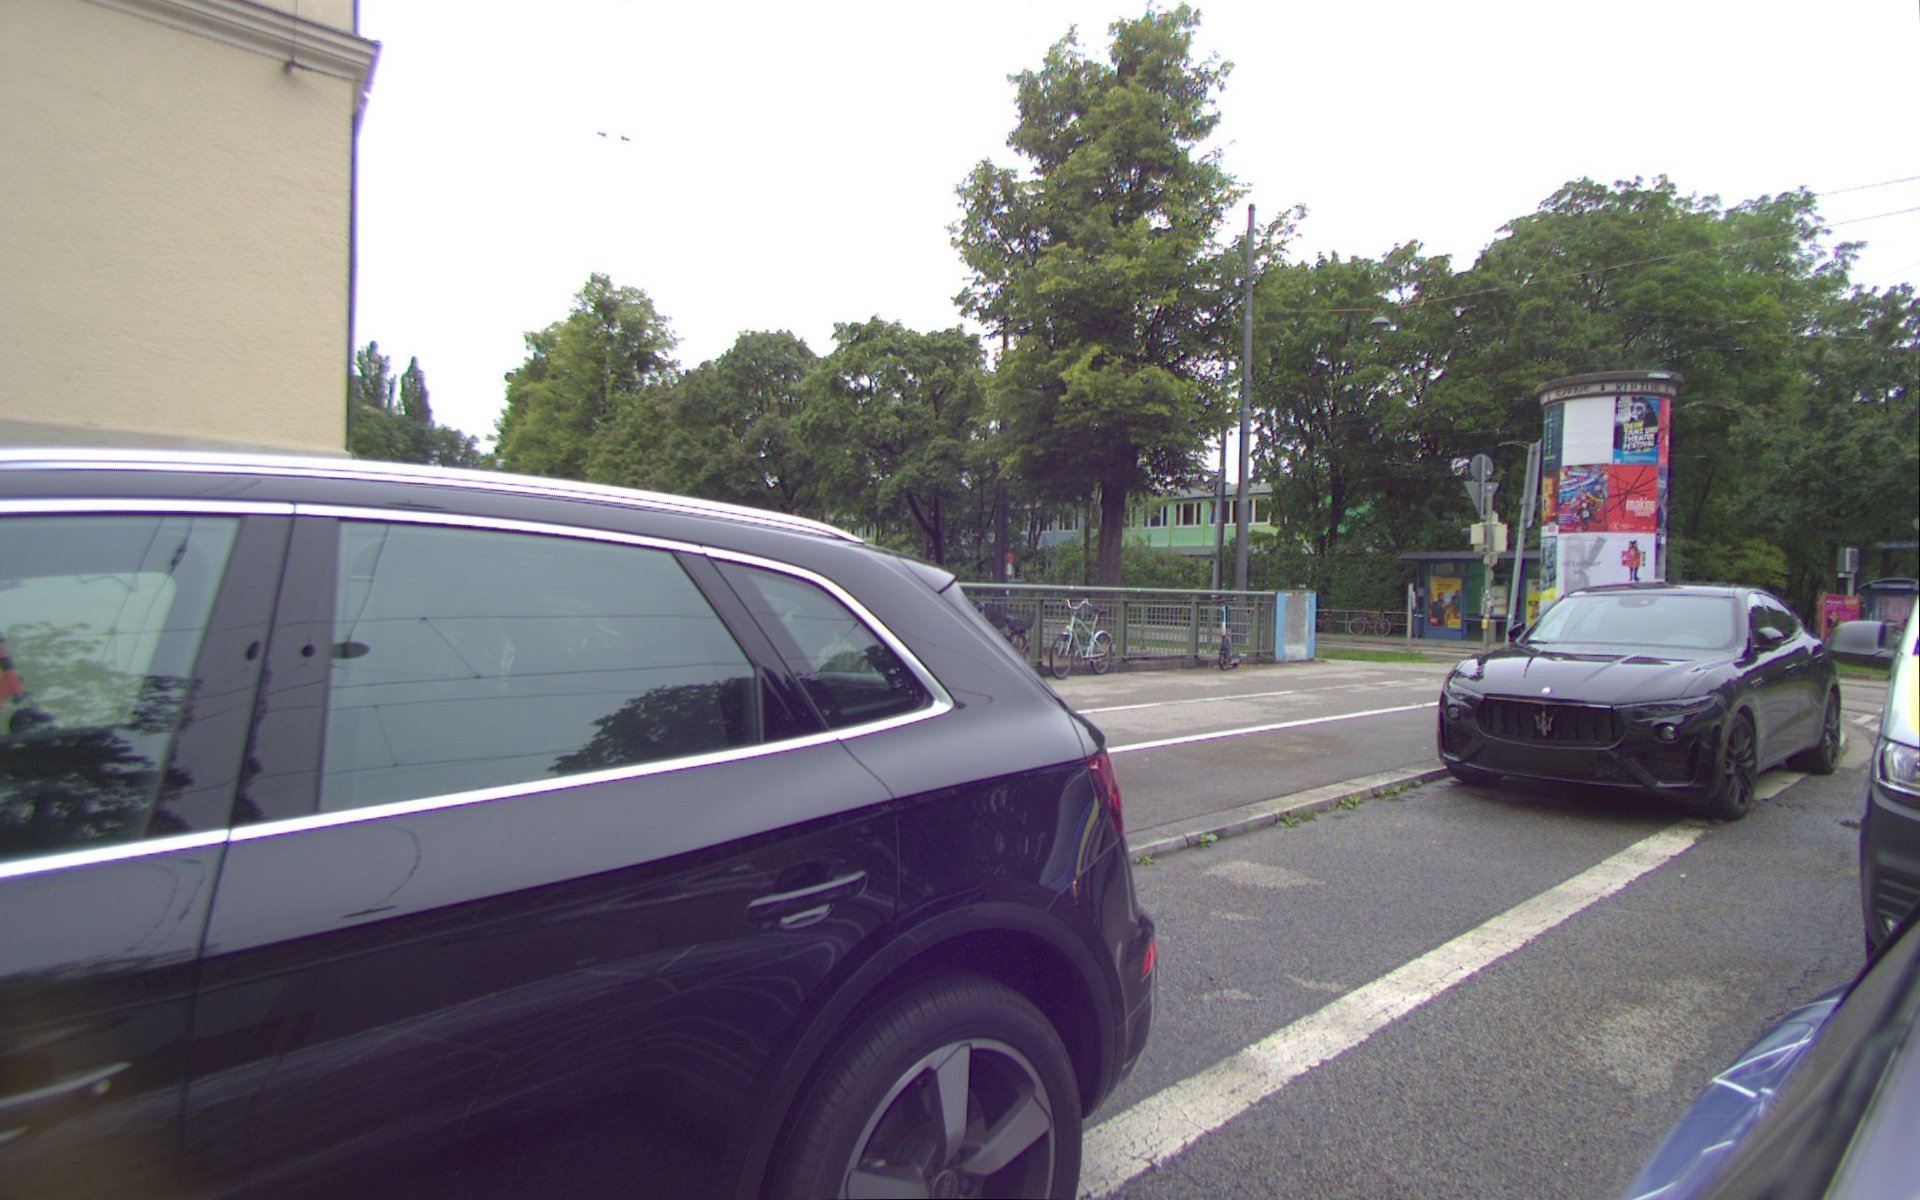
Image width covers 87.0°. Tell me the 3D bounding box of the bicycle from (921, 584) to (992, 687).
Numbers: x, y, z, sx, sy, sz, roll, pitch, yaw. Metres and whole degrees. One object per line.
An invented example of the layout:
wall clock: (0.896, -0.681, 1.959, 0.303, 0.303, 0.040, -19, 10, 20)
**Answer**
bicycle: (-0.028, 0.446, 13.356, 0.280, 1.298, 1.395, -1, -1, 29)

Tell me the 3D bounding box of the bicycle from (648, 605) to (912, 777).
bicycle: (-1.286, 0.606, 7.507, 1.879, 1.091, 0.580, 0, 3, -42)

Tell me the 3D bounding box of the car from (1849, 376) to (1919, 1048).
car: (5.568, 0.369, 4.439, 5.612, 2.078, 1.901, 0, 2, -43)

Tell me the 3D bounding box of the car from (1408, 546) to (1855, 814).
car: (5.737, 0.516, 8.402, 4.582, 1.630, 1.904, 1, -1, -40)

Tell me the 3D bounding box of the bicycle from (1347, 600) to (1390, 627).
bicycle: (15.395, 0.492, 38.162, 0.366, 0.964, 1.483, 0, 1, -38)

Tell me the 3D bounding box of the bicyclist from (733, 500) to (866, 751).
bicyclist: (-1.203, 0.174, 7.575, 0.714, 1.751, 0.725, 0, -1, -41)

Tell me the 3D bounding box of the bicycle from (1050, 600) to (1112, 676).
bicycle: (1.845, 0.541, 15.237, 0.263, 1.096, 1.524, -1, -1, 34)

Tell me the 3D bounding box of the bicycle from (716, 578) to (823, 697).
bicycle: (-2.187, 0.409, 11.726, 0.281, 1.298, 1.391, -1, -1, 38)

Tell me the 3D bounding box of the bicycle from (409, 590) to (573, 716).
bicycle: (-4.448, 0.474, 9.667, 0.286, 1.120, 1.421, 1, 0, 42)

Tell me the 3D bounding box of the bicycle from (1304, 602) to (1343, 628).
bicycle: (14.319, 0.594, 39.848, 0.366, 0.964, 1.483, 0, 1, -38)

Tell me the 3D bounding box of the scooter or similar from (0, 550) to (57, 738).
scooter or similar: (-7.066, 0.311, 7.065, 1.122, 1.329, 0.261, 0, -1, -41)

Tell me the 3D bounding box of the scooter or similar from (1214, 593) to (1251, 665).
scooter or similar: (4.769, 0.489, 17.701, 0.224, 1.227, 1.006, -1, -1, 40)

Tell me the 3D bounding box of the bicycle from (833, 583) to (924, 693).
bicycle: (-1.001, 0.452, 12.665, 0.281, 1.298, 1.391, -1, -1, 38)

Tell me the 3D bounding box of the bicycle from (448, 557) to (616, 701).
bicycle: (-4.196, 0.266, 10.001, 1.511, 1.329, 0.332, 0, -1, -42)

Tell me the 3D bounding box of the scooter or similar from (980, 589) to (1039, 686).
scooter or similar: (0.701, 0.489, 14.003, 0.242, 1.279, 1.482, -1, 0, 27)

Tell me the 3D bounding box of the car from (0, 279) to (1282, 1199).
car: (-1.455, 0.518, 1.732, 4.408, 1.679, 1.778, 0, 0, -40)
